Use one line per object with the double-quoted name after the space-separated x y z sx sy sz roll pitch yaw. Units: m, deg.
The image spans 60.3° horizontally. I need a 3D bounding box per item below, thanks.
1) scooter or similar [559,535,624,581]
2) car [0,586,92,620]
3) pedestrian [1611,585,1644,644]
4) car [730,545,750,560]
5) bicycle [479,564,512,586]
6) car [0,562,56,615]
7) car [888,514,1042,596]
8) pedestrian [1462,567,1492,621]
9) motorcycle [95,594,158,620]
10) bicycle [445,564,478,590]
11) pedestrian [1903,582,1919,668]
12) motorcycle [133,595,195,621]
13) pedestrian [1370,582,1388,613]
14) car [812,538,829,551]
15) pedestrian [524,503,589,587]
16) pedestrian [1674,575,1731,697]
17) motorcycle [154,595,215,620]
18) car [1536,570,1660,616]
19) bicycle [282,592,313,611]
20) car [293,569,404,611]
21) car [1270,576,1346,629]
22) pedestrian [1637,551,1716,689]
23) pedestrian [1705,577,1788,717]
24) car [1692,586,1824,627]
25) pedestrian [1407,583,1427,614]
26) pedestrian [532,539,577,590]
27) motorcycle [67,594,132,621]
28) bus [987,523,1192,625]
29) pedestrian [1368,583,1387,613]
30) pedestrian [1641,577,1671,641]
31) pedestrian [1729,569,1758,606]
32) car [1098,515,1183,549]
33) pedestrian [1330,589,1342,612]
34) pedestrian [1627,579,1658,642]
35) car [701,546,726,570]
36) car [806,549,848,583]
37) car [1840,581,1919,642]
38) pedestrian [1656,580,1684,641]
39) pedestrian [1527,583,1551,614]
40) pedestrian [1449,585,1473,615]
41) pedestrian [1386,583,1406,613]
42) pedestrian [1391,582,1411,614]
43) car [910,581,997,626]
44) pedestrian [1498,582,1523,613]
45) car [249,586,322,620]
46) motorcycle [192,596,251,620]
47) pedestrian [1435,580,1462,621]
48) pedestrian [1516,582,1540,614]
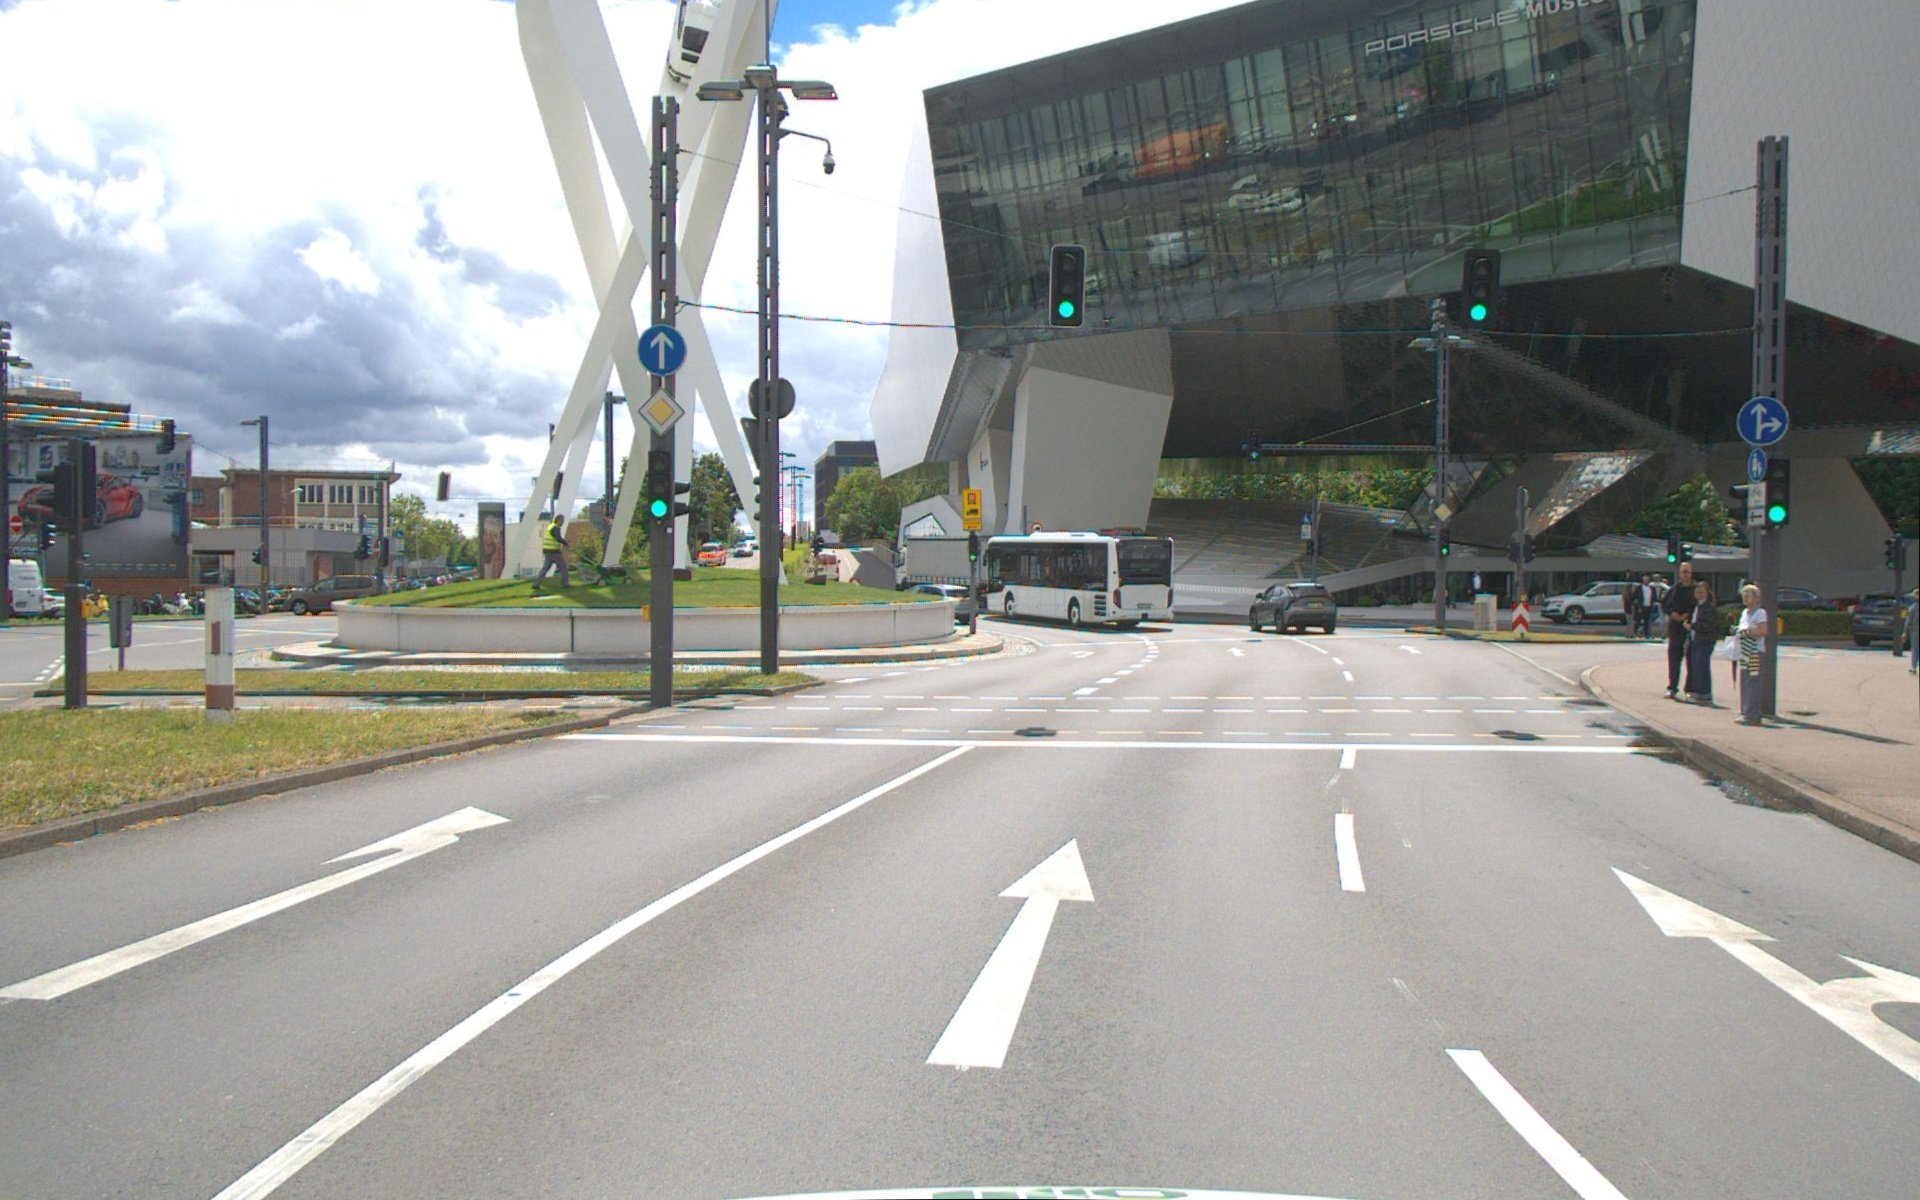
-8.589 -0.979 38.588 1.382 1.043 0.546 -2 1 -24 "scooter or similar"
-43.005 0.142 77.395 3.902 1.527 2.001 1 0 16 "car"
19.330 0.416 47.916 0.664 1.666 0.613 1 -1 -32 "pedestrian"
-22.801 -4.933 171.587 1.720 1.421 4.672 1 3 -3 "car"
-26.972 -1.443 96.004 1.704 1.202 0.669 1 1 -6 "bicycle"
-41.342 -0.526 70.634 4.541 2.209 2.002 1 0 11 "car"
0.069 -2.030 78.065 3.297 3.565 9.255 1 0 -28 "car"
20.151 -0.247 64.470 0.933 2.019 1.383 1 2 11 "pedestrian"
-40.970 0.358 81.277 2.841 1.217 0.921 1 0 14 "motorcycle"
-26.200 -1.194 86.951 1.574 1.339 0.492 1 0 -6 "bicycle"
18.239 0.478 31.242 0.680 1.614 0.920 1 -1 27 "pedestrian"
-40.096 0.403 83.285 2.841 1.217 0.921 1 0 14 "motorcycle"
21.982 -0.148 86.743 0.810 1.600 0.924 1 0 18 "pedestrian"
-17.883 -7.122 212.006 1.954 1.664 4.654 1 2 -3 "car"
-9.344 -1.293 38.264 1.263 1.847 0.981 -4 5 -21 "pedestrian"
10.193 0.488 22.710 0.454 1.644 0.663 1 0 -2 "pedestrian"
-39.538 0.391 84.372 2.841 1.217 0.921 1 0 14 "motorcycle"
23.647 -0.252 61.416 3.904 1.577 1.839 -1 0 1 "car"
-32.058 0.077 80.042 1.576 0.881 0.492 1 0 30 "bicycle"
-25.541 -0.413 69.197 3.909 1.665 1.998 1 0 -5 "car"
11.372 0.060 54.231 1.951 1.665 4.002 0 0 5 "car"
10.120 0.281 23.387 0.649 1.899 0.789 1 -1 -19 "pedestrian"
9.464 0.560 19.919 0.645 1.636 0.823 1 0 6 "pedestrian"
29.458 0.225 61.128 4.067 1.407 1.835 1 2 -8 "car"
24.016 -0.081 86.956 0.688 1.600 0.783 2 -1 -43 "pedestrian"
-12.193 -1.067 49.780 0.835 1.431 0.965 -6 -3 17 "pedestrian"
-41.513 0.362 79.789 2.841 1.217 0.921 1 0 14 "motorcycle"
4.571 -0.887 62.584 3.026 3.421 12.153 1 0 -19 "bus"
22.180 -0.115 87.911 0.811 1.600 0.923 1 0 23 "pedestrian"
20.637 0.269 49.026 0.660 1.879 0.617 1 -1 40 "pedestrian"
36.213 -0.576 76.485 0.814 1.705 0.920 1 0 -14 "pedestrian"
10.240 -3.892 93.931 4.436 1.418 1.989 10 11 42 "car"
21.166 0.045 93.121 0.550 1.275 0.472 1 -1 35 "pedestrian"
20.058 0.298 48.597 0.661 1.826 0.616 1 -1 42 "pedestrian"
-21.479 -3.699 143.989 1.957 2.017 4.826 -1 2 -10 "car"
-8.008 -2.007 99.312 1.959 1.937 3.988 1 0 -12 "car"
28.399 0.363 49.301 3.941 1.732 1.982 1 0 -28 "car"
21.299 0.316 49.626 0.596 1.790 0.616 1 -1 41 "pedestrian"
29.898 -0.086 85.445 0.814 1.600 0.920 1 0 -14 "pedestrian"
26.462 -0.003 87.366 0.814 1.600 0.920 1 0 -14 "pedestrian"
23.094 -0.098 87.562 0.902 1.600 0.830 1 -1 25 "pedestrian"
23.023 -0.103 86.401 0.901 1.600 0.830 1 0 22 "pedestrian"
-0.280 0.122 63.429 1.966 1.665 3.972 1 0 -23 "car"
28.506 -0.137 85.637 0.814 1.600 0.920 1 0 -14 "pedestrian"
-37.745 0.153 92.585 3.398 1.835 1.705 1 0 12 "car"
-38.726 0.411 86.788 2.841 1.217 0.921 1 0 14 "motorcycle"
18.268 0.007 61.889 0.577 1.522 0.761 1 -1 -37 "pedestrian"
29.642 -0.107 86.351 0.814 1.600 0.920 1 0 -14 "pedestrian"
